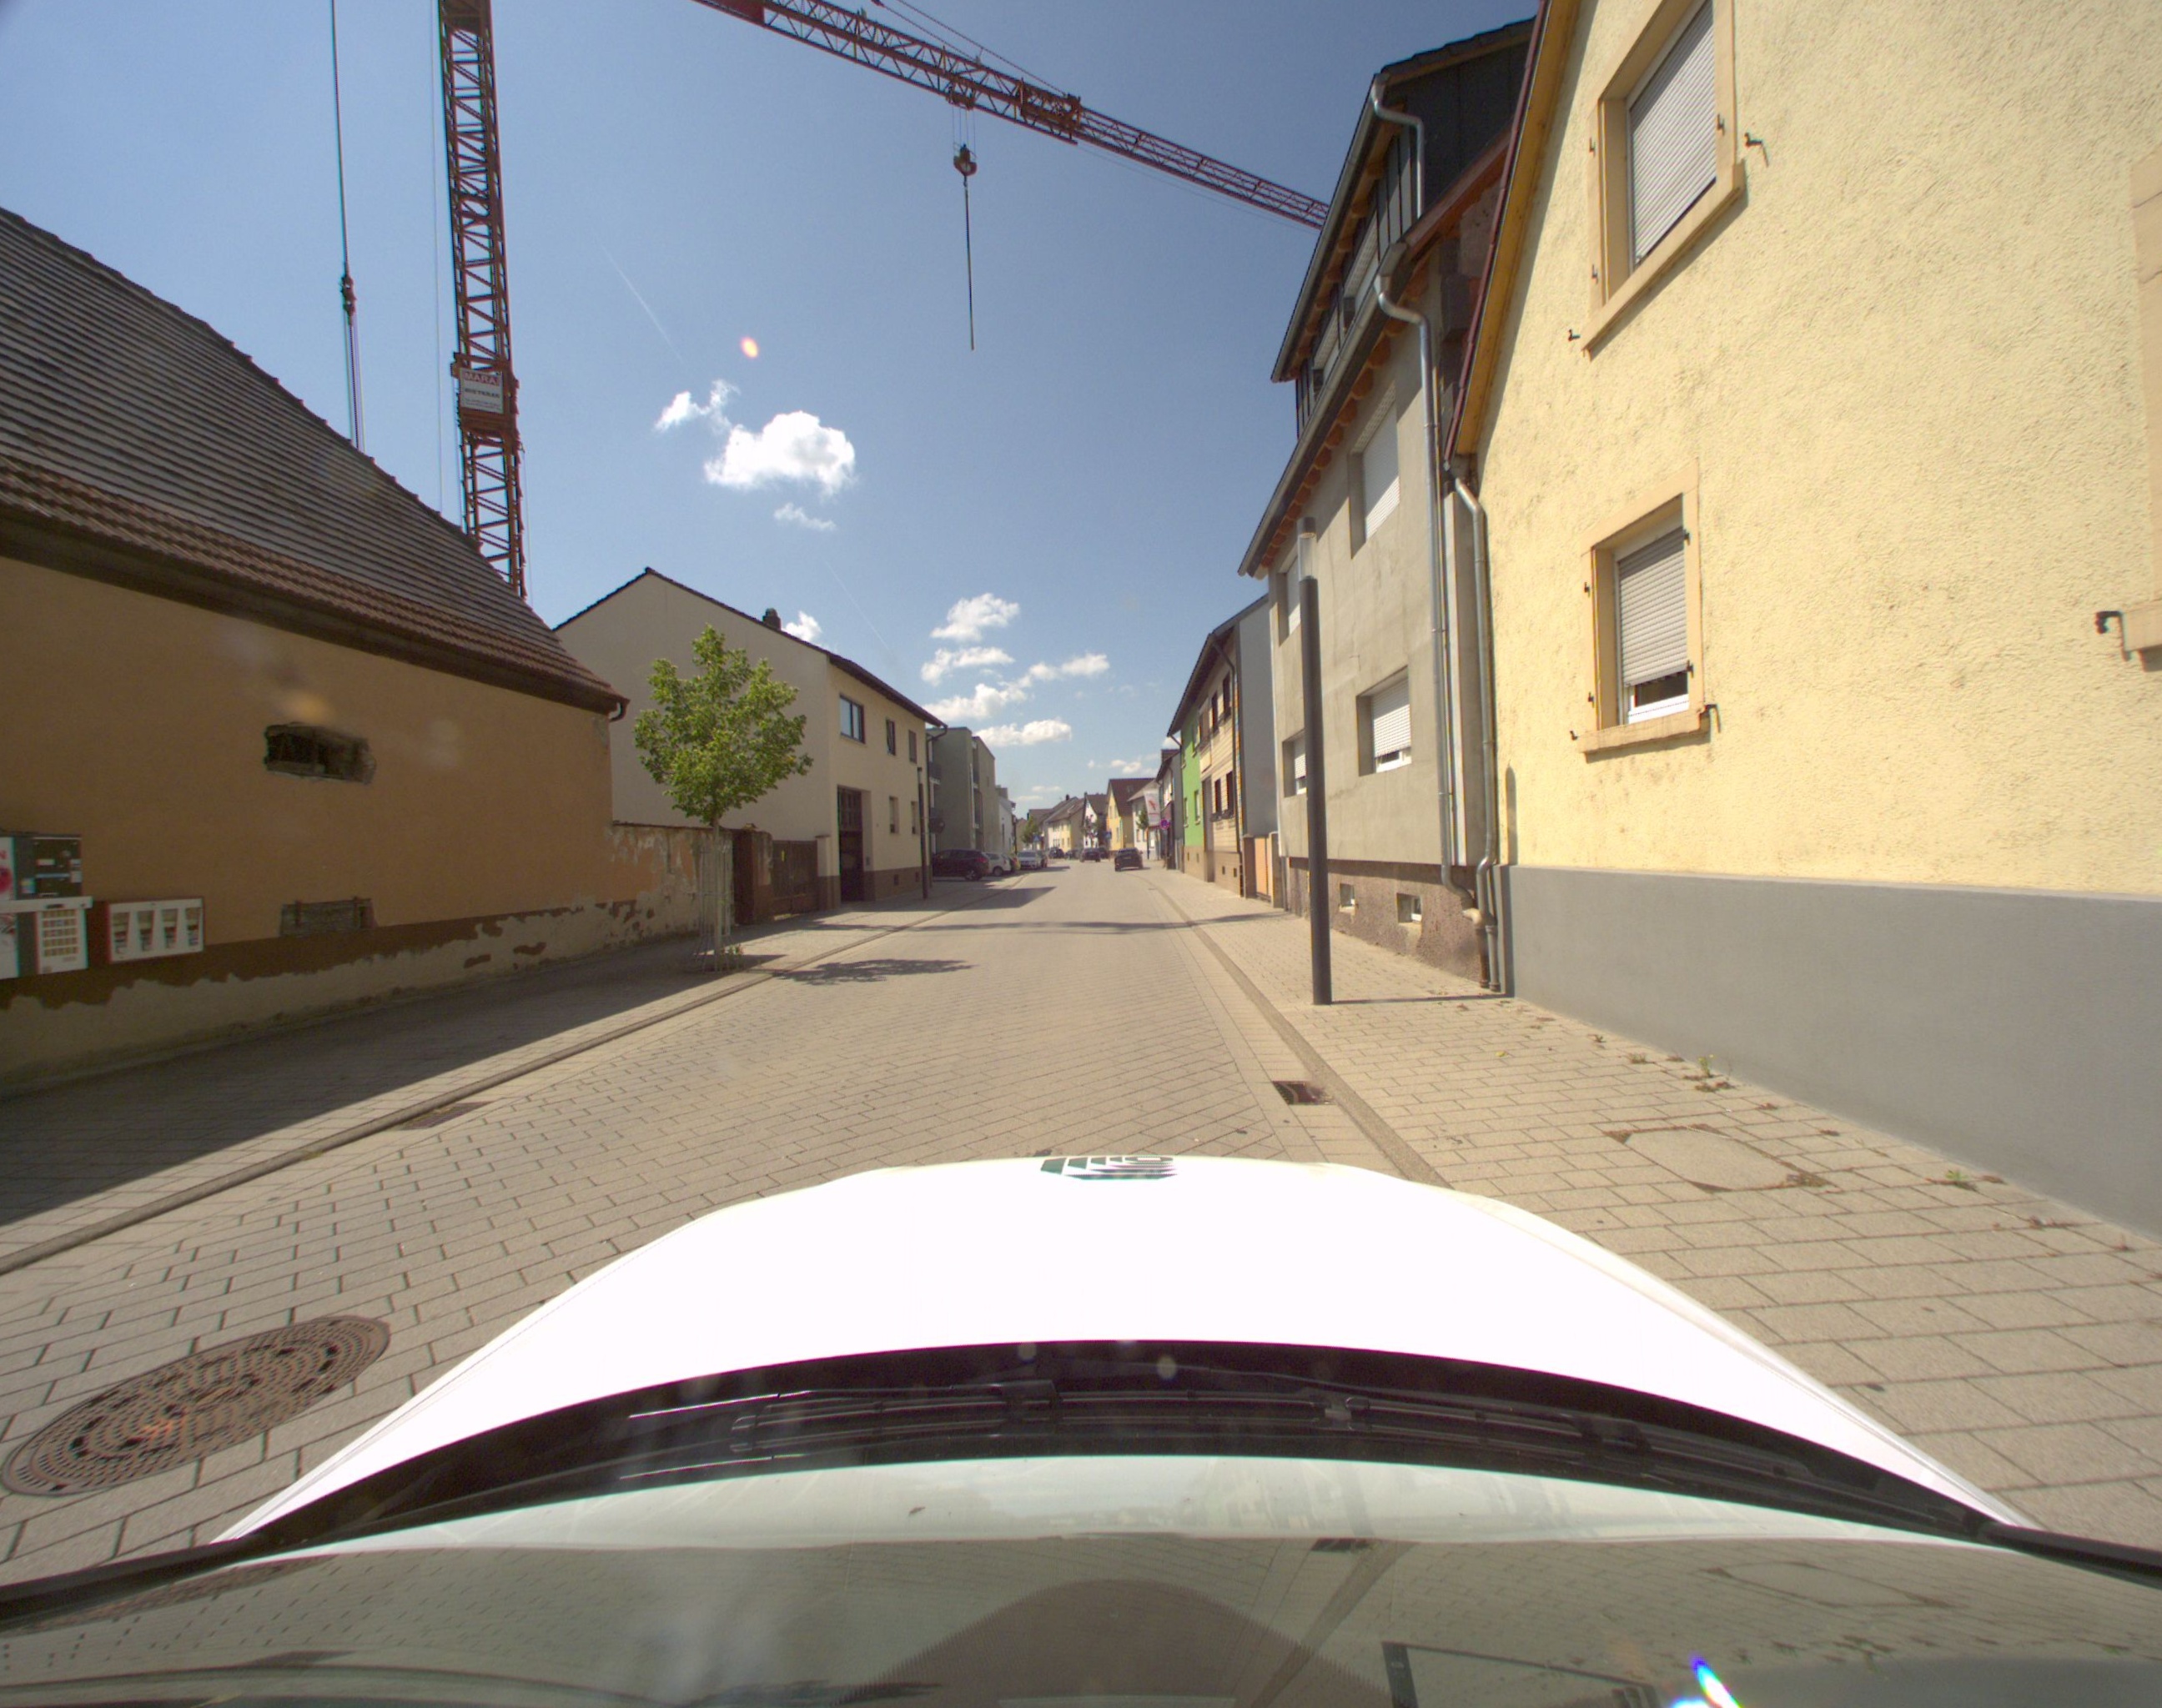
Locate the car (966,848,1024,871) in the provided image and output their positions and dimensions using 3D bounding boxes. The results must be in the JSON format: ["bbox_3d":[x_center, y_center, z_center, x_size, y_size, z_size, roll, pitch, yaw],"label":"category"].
[{"bbox_3d":[-5.791,0.367,55.219,3.676,1.525,1.674,0,0,3],"label":"car"}]

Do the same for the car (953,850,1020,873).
[{"bbox_3d":[-6.020,0.467,52.082,3.971,1.441,1.692,1,0,2],"label":"car"}]

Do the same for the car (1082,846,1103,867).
[{"bbox_3d":[1.100,0.224,81.913,1.987,2.057,4.374,-2,0,0],"label":"car"}]

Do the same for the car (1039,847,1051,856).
[{"bbox_3d":[-6.456,-0.461,146.277,1.754,1.492,3.987,-3,0,-9],"label":"car"}]

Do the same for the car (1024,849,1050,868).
[{"bbox_3d":[-3.712,0.359,69.234,1.806,1.490,4.281,-1,1,3],"label":"car"}]

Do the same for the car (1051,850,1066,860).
[{"bbox_3d":[-3.724,0.125,131.628,1.877,1.591,3.987,-3,0,-9],"label":"car"}]

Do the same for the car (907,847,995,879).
[{"bbox_3d":[-6.673,0.451,42.093,4.203,1.658,1.785,0,0,2],"label":"car"}]

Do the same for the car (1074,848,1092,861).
[{"bbox_3d":[0.234,0.050,110.630,1.846,1.562,3.682,-3,0,-9],"label":"car"}]

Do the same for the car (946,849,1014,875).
[{"bbox_3d":[-6.168,0.491,49.953,3.883,1.502,1.753,0,1,4],"label":"car"}]

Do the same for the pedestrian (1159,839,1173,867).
[{"bbox_3d":[5.166,-0.089,49.647,0.726,1.640,0.750,-5,0,6],"label":"pedestrian"}]

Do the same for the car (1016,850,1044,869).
[{"bbox_3d":[-3.950,0.430,63.280,1.750,1.411,3.881,0,1,3],"label":"car"}]

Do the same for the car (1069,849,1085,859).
[{"bbox_3d":[-0.548,0.024,118.191,1.710,1.387,3.694,-3,0,-9],"label":"car"}]

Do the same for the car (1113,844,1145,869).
[{"bbox_3d":[3.241,0.165,53.933,1.849,1.459,4.593,-4,0,6],"label":"car"}]

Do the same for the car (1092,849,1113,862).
[{"bbox_3d":[2.623,0.179,101.173,1.829,1.471,4.262,-4,0,-9],"label":"car"}]
